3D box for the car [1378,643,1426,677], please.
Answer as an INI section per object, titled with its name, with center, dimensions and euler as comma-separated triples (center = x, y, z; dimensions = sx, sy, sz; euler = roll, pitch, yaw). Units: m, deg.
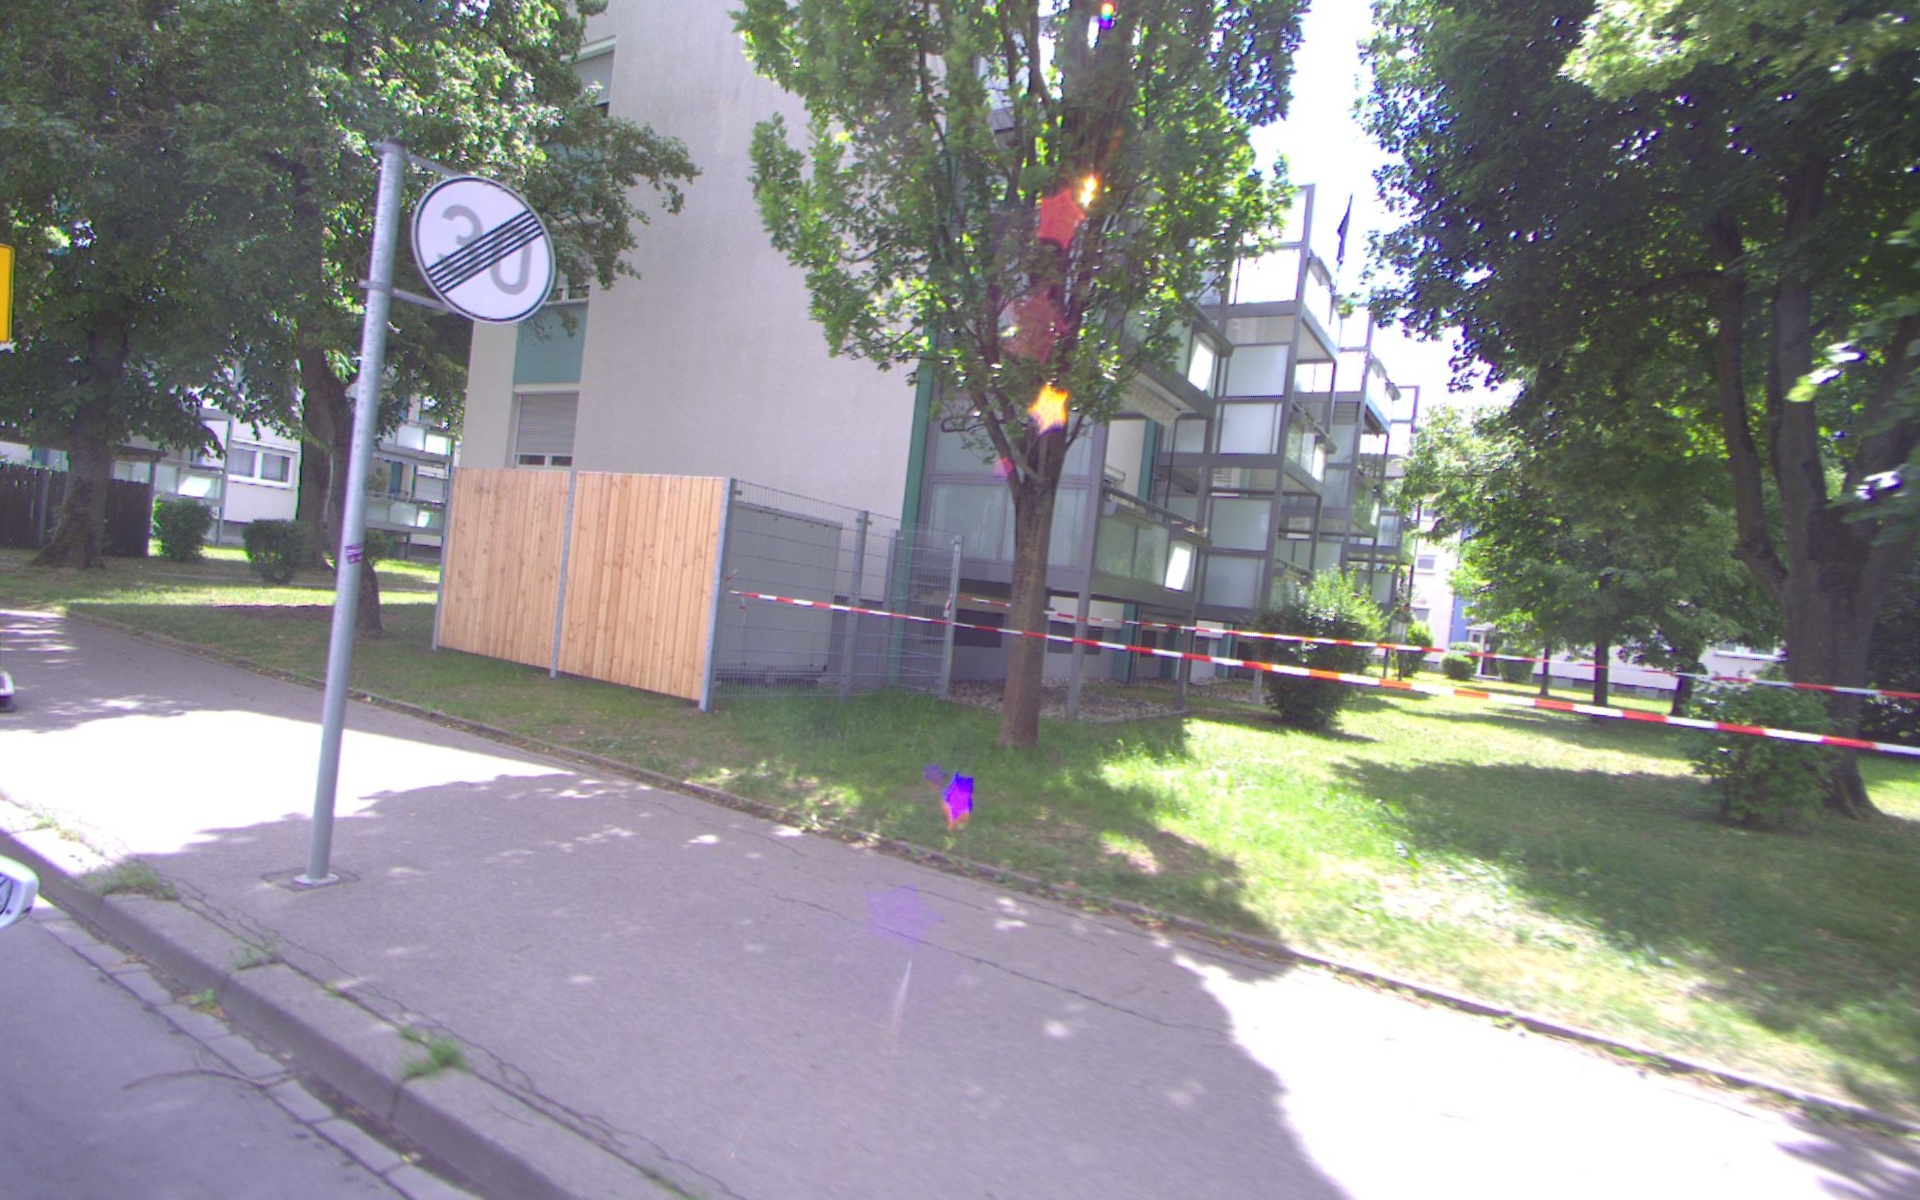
[car]
center = 16.438, 2.257, 37.406
dimensions = 1.145, 1.005, 2.434
euler = 7, -2, 34
